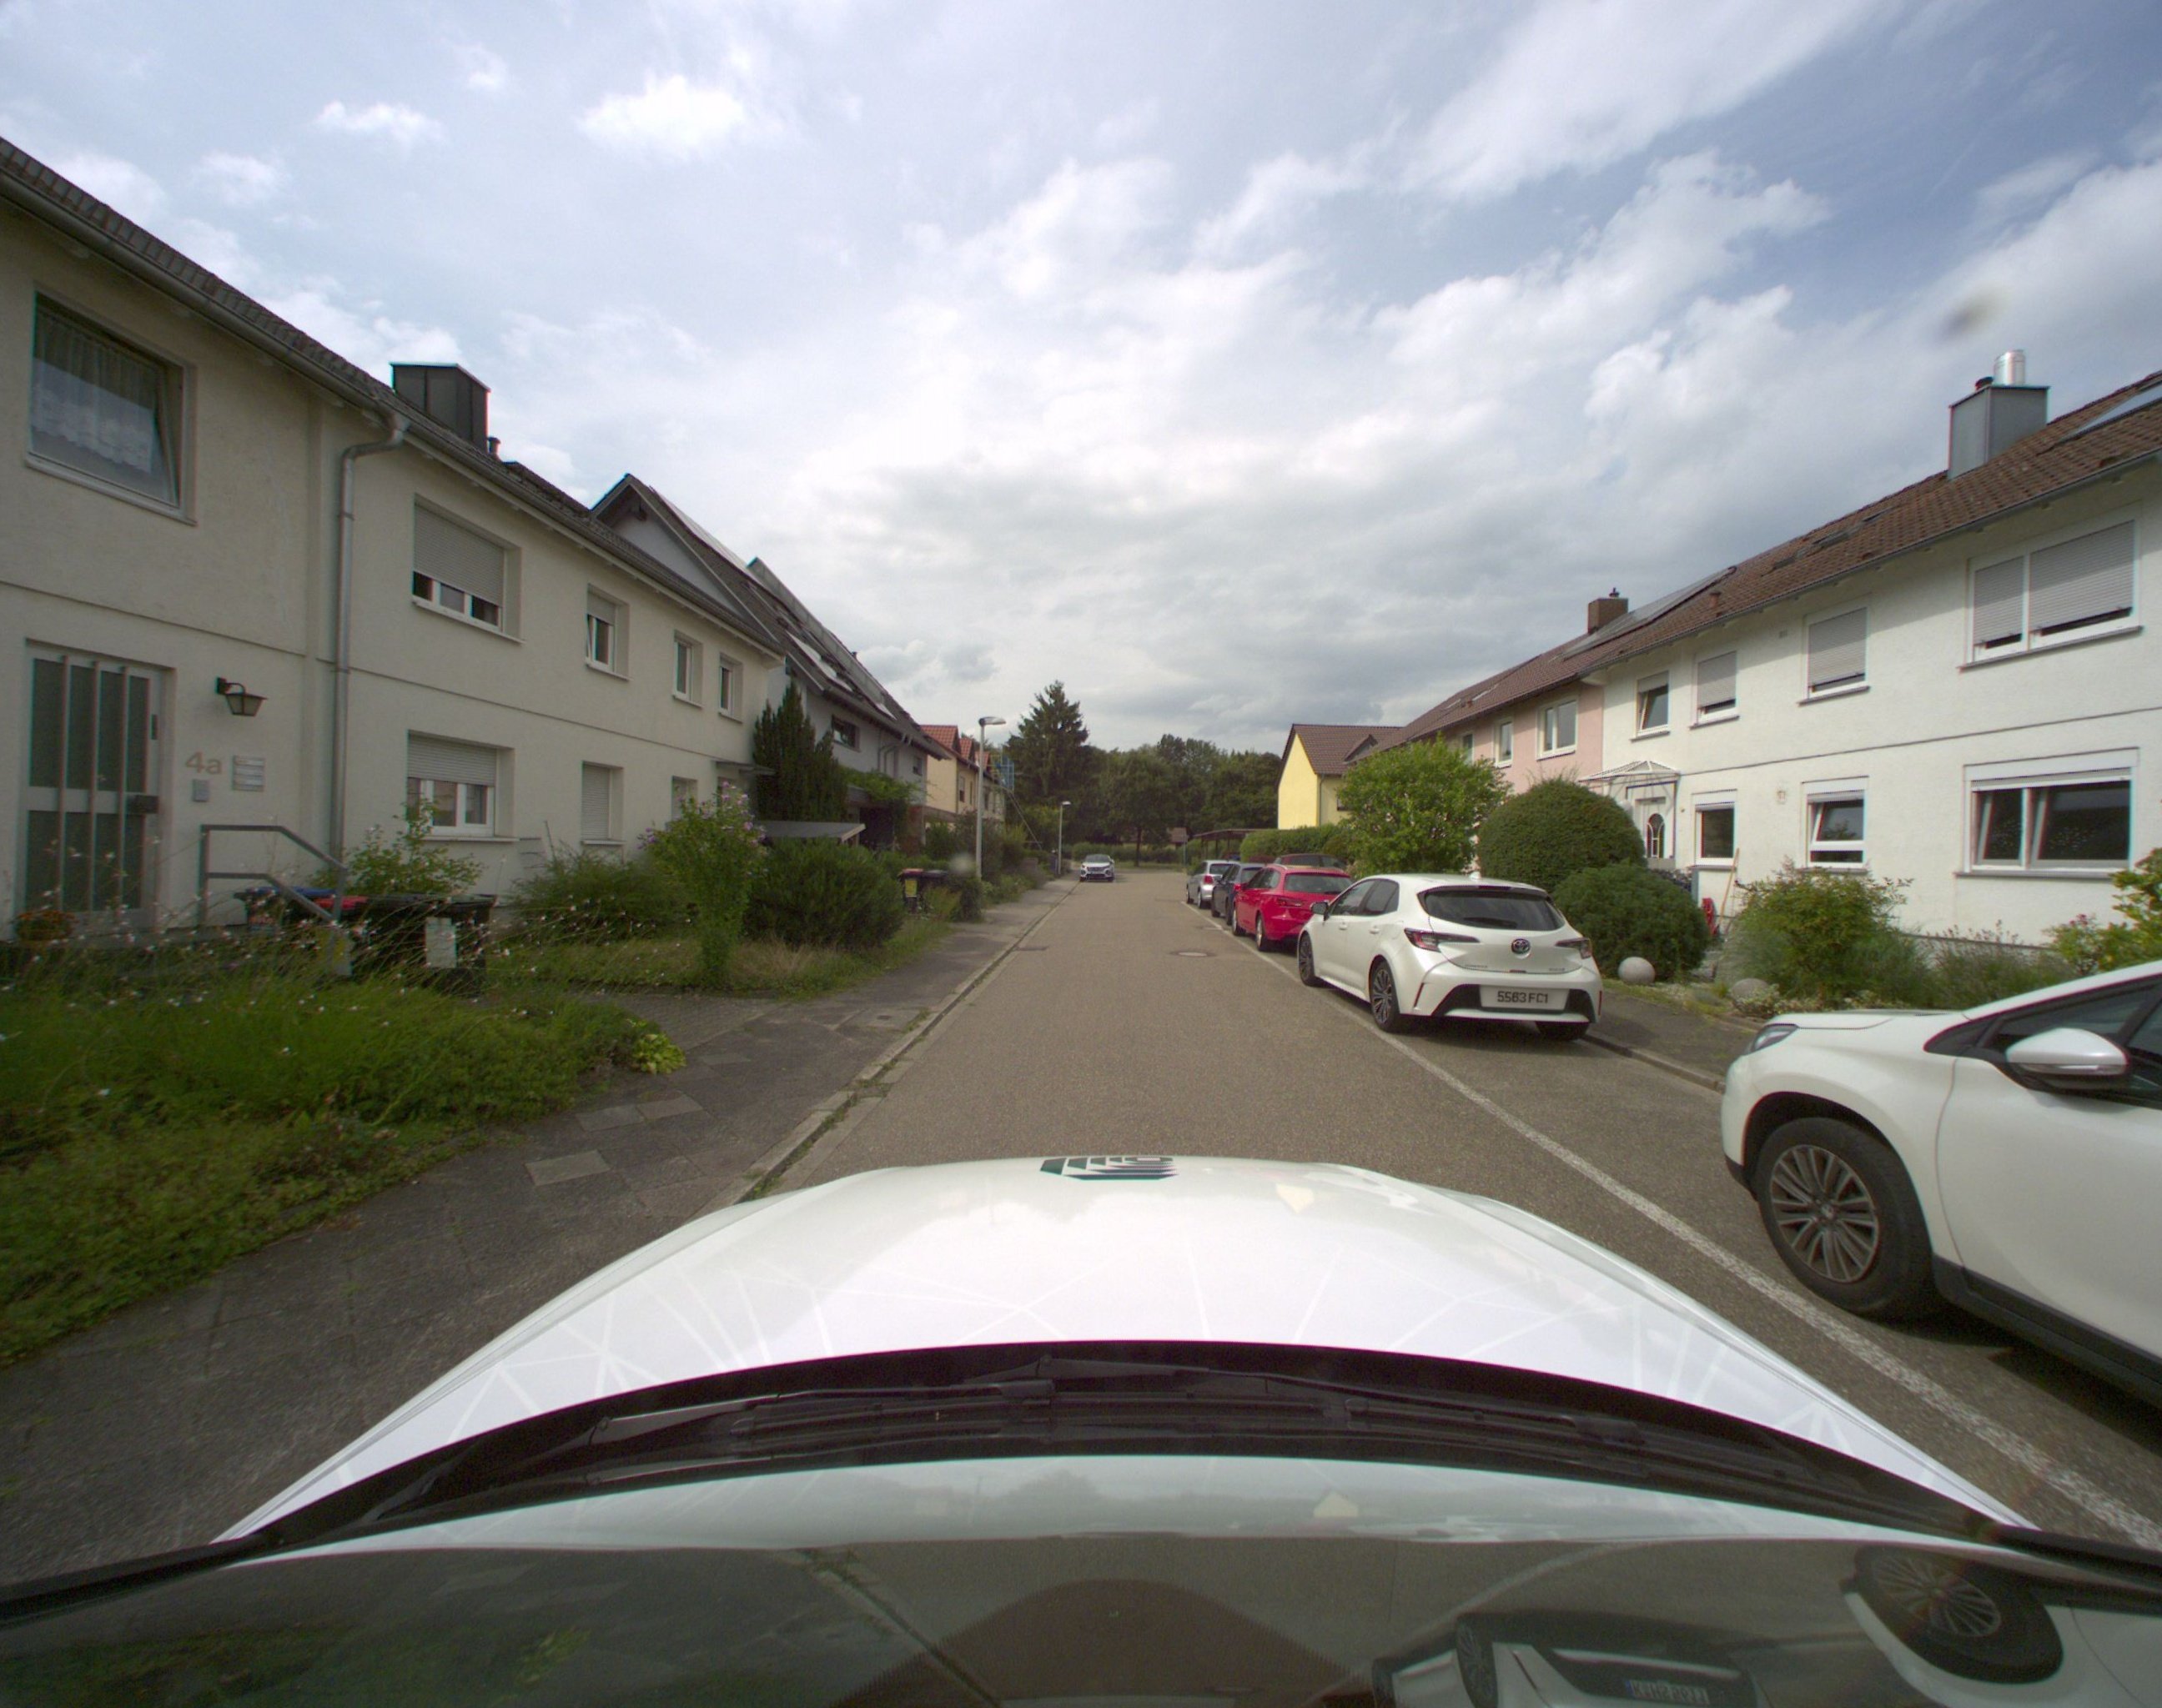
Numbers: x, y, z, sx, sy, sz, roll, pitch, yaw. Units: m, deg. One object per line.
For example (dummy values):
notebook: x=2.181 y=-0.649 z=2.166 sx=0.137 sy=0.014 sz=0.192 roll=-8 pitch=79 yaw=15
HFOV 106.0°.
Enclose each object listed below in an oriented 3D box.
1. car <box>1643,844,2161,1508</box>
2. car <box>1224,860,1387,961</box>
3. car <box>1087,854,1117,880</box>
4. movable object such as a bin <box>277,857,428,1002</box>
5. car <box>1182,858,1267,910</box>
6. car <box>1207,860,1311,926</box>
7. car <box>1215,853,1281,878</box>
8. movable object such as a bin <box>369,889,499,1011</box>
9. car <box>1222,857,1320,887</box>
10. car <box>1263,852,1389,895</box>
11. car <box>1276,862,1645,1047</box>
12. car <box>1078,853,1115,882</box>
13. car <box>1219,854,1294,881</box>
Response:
car: x=3.393 y=0.786 z=1.699 sx=1.708 sy=1.543 sz=3.974 roll=3 pitch=0 yaw=1
car: x=3.853 y=0.879 z=14.850 sx=1.766 sy=1.436 sz=4.829 roll=3 pitch=0 yaw=2
car: x=1.362 y=0.780 z=51.591 sx=1.803 sy=1.562 sz=4.850 roll=0 pitch=0 yaw=2
movable object such as a bin: x=-6.561 y=0.651 z=7.370 sx=0.693 sy=1.239 sz=0.735 roll=0 pitch=0 yaw=2
car: x=4.339 y=0.855 z=25.178 sx=1.859 sy=1.417 sz=4.252 roll=1 pitch=0 yaw=0
car: x=4.165 y=0.855 z=19.680 sx=1.765 sy=1.356 sz=4.268 roll=0 pitch=0 yaw=3
car: x=10.845 y=0.751 z=53.199 sx=3.945 sy=1.540 sz=1.839 roll=0 pitch=0 yaw=-1
movable object such as a bin: x=-5.736 y=0.829 z=7.251 sx=0.672 sy=1.007 sz=0.598 roll=0 pitch=0 yaw=2
car: x=9.448 y=0.876 z=40.765 sx=4.435 sy=1.433 sz=2.027 roll=0 pitch=0 yaw=0
car: x=9.214 y=0.730 z=30.857 sx=4.253 sy=1.560 sz=1.936 roll=0 pitch=0 yaw=2
car: x=3.596 y=0.829 z=8.837 sx=1.832 sy=1.413 sz=4.635 roll=0 pitch=0 yaw=-1
car: x=0.948 y=0.743 z=46.199 sx=1.926 sy=1.556 sz=4.637 roll=0 pitch=0 yaw=3
car: x=10.346 y=0.768 z=48.287 sx=4.034 sy=1.522 sz=1.950 roll=0 pitch=0 yaw=-1
